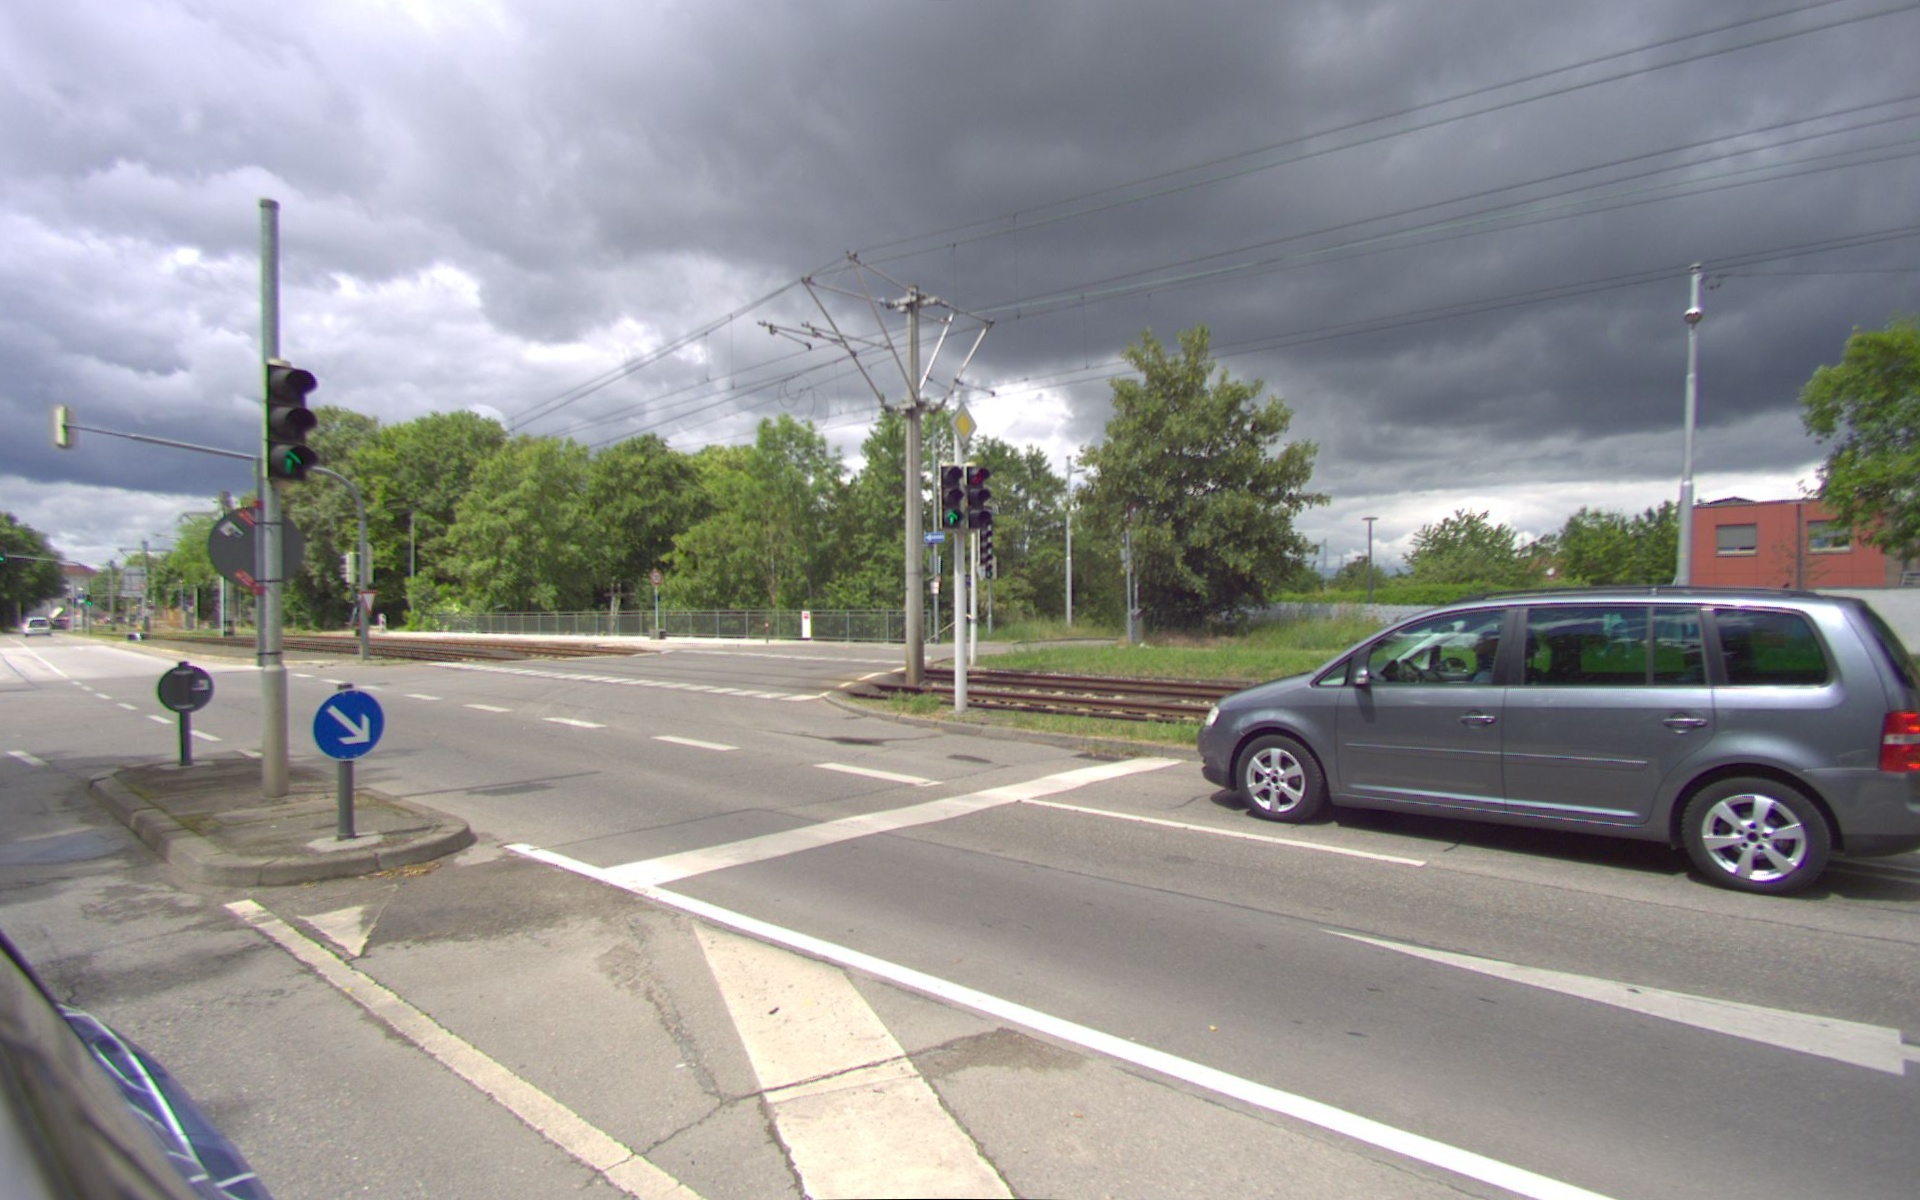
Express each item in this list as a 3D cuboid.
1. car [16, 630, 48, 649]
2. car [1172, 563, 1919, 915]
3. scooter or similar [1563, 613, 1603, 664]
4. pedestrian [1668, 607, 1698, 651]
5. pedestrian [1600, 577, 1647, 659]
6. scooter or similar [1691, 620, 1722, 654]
[{"bbox_3d":[-75.891,3.207,82.737,1.765,1.358,4.855,0,0,-45],"label":"car"},{"bbox_3d":[3.900,0.646,6.769,4.522,1.672,1.972,0,0,43],"label":"car"},{"bbox_3d":[13.793,0.838,22.409,0.717,1.084,0.376,0,0,41],"label":"scooter or similar"},{"bbox_3d":[24.062,0.961,33.687,0.650,1.451,0.490,0,0,14],"label":"pedestrian"},{"bbox_3d":[14.351,0.382,21.884,0.799,1.736,0.485,0,0,42],"label":"pedestrian"},{"bbox_3d":[24.740,1.222,33.550,0.710,1.084,0.380,0,0,12],"label":"scooter or similar"}]
